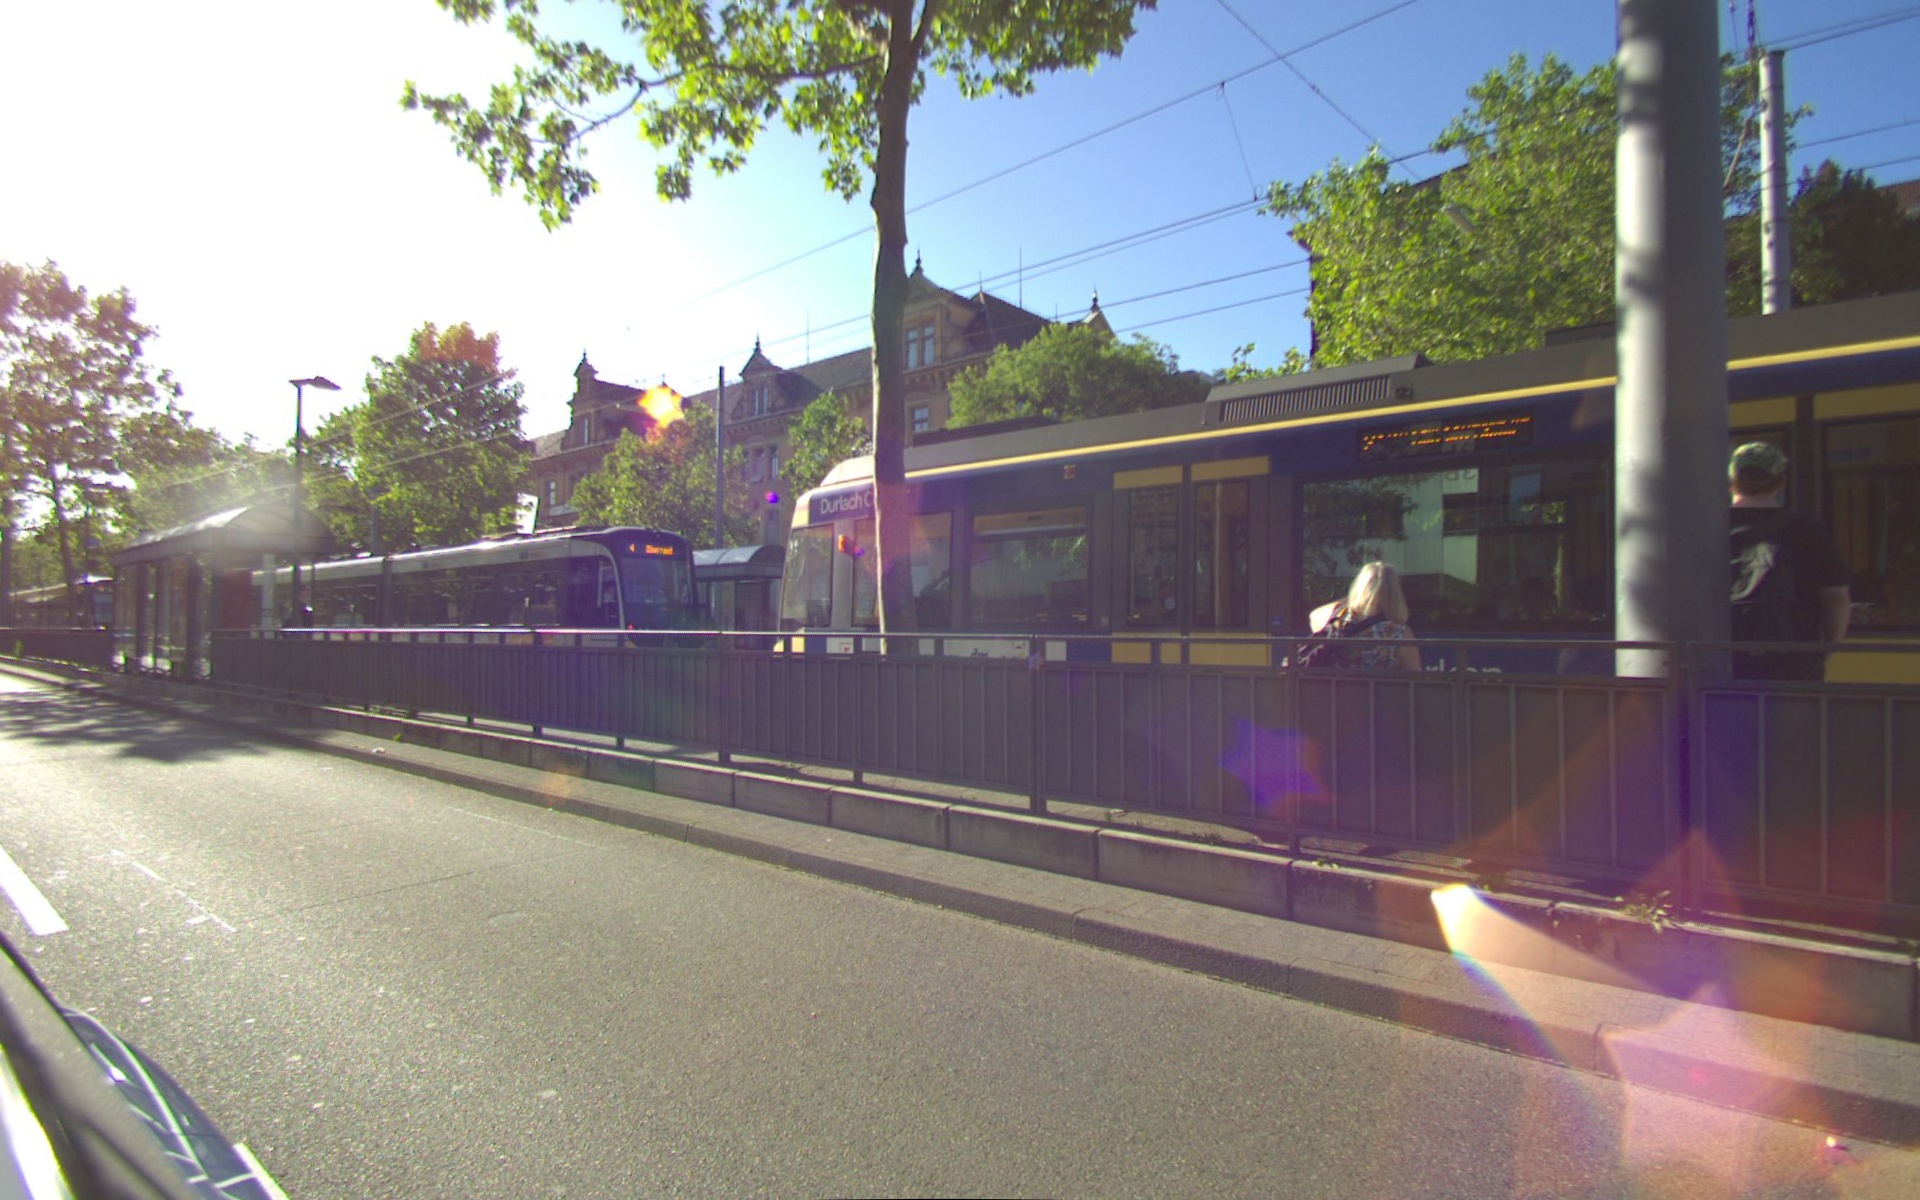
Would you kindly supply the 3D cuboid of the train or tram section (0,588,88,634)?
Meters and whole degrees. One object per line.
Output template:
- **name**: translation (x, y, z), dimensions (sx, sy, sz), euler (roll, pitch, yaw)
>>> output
- **train or tram section**: translation (-55.673, 0.769, 61.100), dimensions (15.066, 2.551, 2.536), euler (-2, -2, 41)

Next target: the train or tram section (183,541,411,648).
- **train or tram section**: translation (-26.718, 0.018, 39.929), dimensions (18.267, 3.460, 2.841), euler (-2, -1, 42)

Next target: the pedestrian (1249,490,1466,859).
- **pedestrian**: translation (1.858, 0.323, 4.721), dimensions (0.751, 1.521, 0.768), euler (-1, -3, 37)

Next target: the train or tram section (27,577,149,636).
- **train or tram section**: translation (-44.156, 0.459, 50.938), dimensions (15.668, 2.584, 2.536), euler (-2, -2, 41)

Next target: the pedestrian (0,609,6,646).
- **pedestrian**: translation (-42.419, 1.209, 44.408), dimensions (0.761, 1.648, 0.691), euler (-2, -2, 41)

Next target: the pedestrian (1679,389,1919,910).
- **pedestrian**: translation (3.257, 0.181, 3.914), dimensions (0.722, 1.766, 0.768), euler (-1, -3, 37)

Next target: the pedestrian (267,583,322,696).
- **pedestrian**: translation (-10.054, 0.585, 15.279), dimensions (0.621, 1.652, 0.560), euler (-2, -2, 43)

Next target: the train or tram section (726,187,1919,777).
- **train or tram section**: translation (3.932, -0.662, 8.797), dimensions (15.886, 3.284, 2.884), euler (0, 0, 41)

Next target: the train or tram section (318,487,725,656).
- **train or tram section**: translation (-13.048, -0.395, 27.808), dimensions (18.206, 3.460, 2.819), euler (-2, -1, 42)

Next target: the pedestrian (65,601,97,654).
- **pedestrian**: translation (-29.062, 0.902, 33.459), dimensions (0.623, 1.723, 0.674), euler (-2, -2, 40)
